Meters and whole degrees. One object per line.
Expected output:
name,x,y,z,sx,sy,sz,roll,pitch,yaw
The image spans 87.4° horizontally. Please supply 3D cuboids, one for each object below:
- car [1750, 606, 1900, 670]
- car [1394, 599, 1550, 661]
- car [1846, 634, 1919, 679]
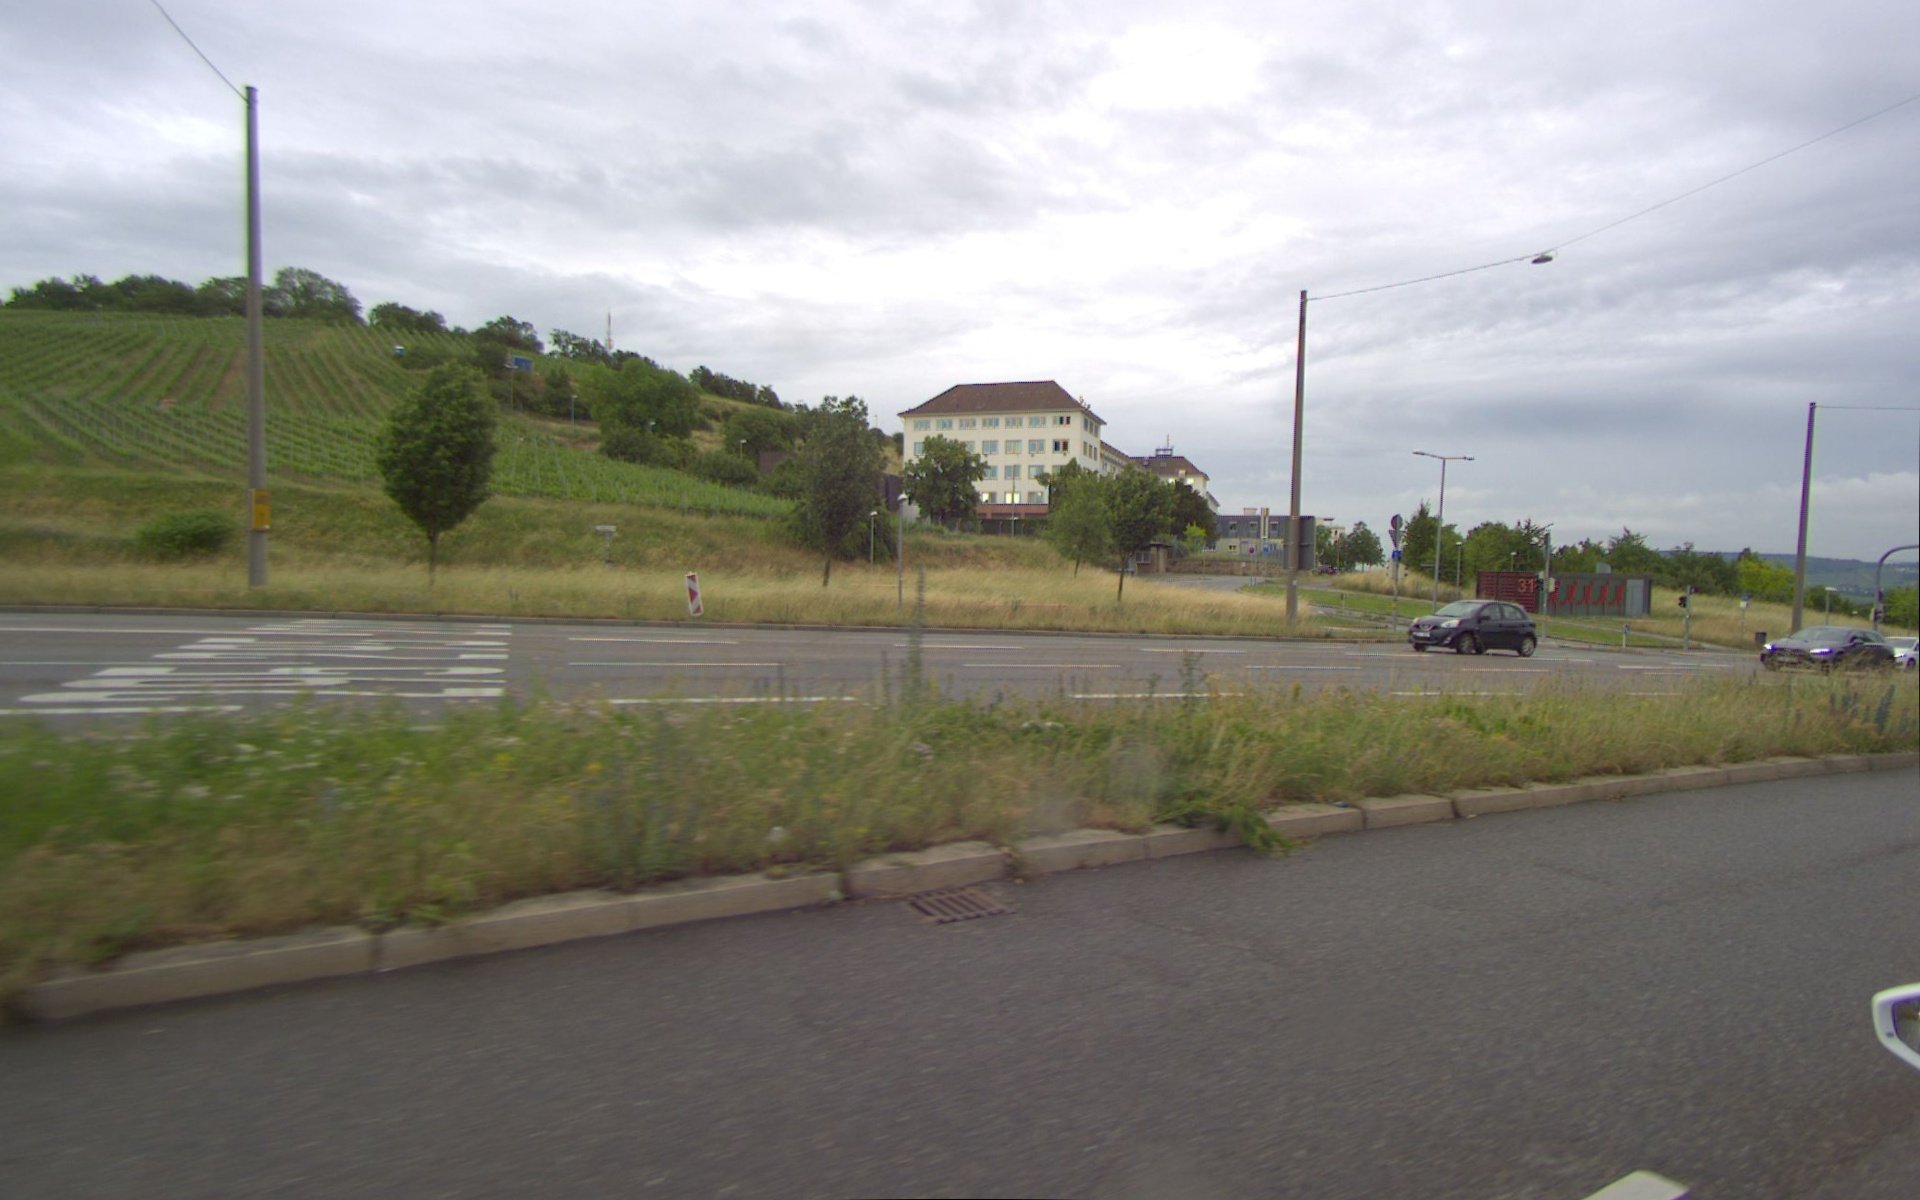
car,25.409,1.116,29.500,3.945,1.538,1.762,4,1,-24
car,14.375,0.844,28.218,3.945,1.402,1.762,4,1,-24
car,40.716,2.496,43.591,4.121,1.670,1.762,4,1,-24
